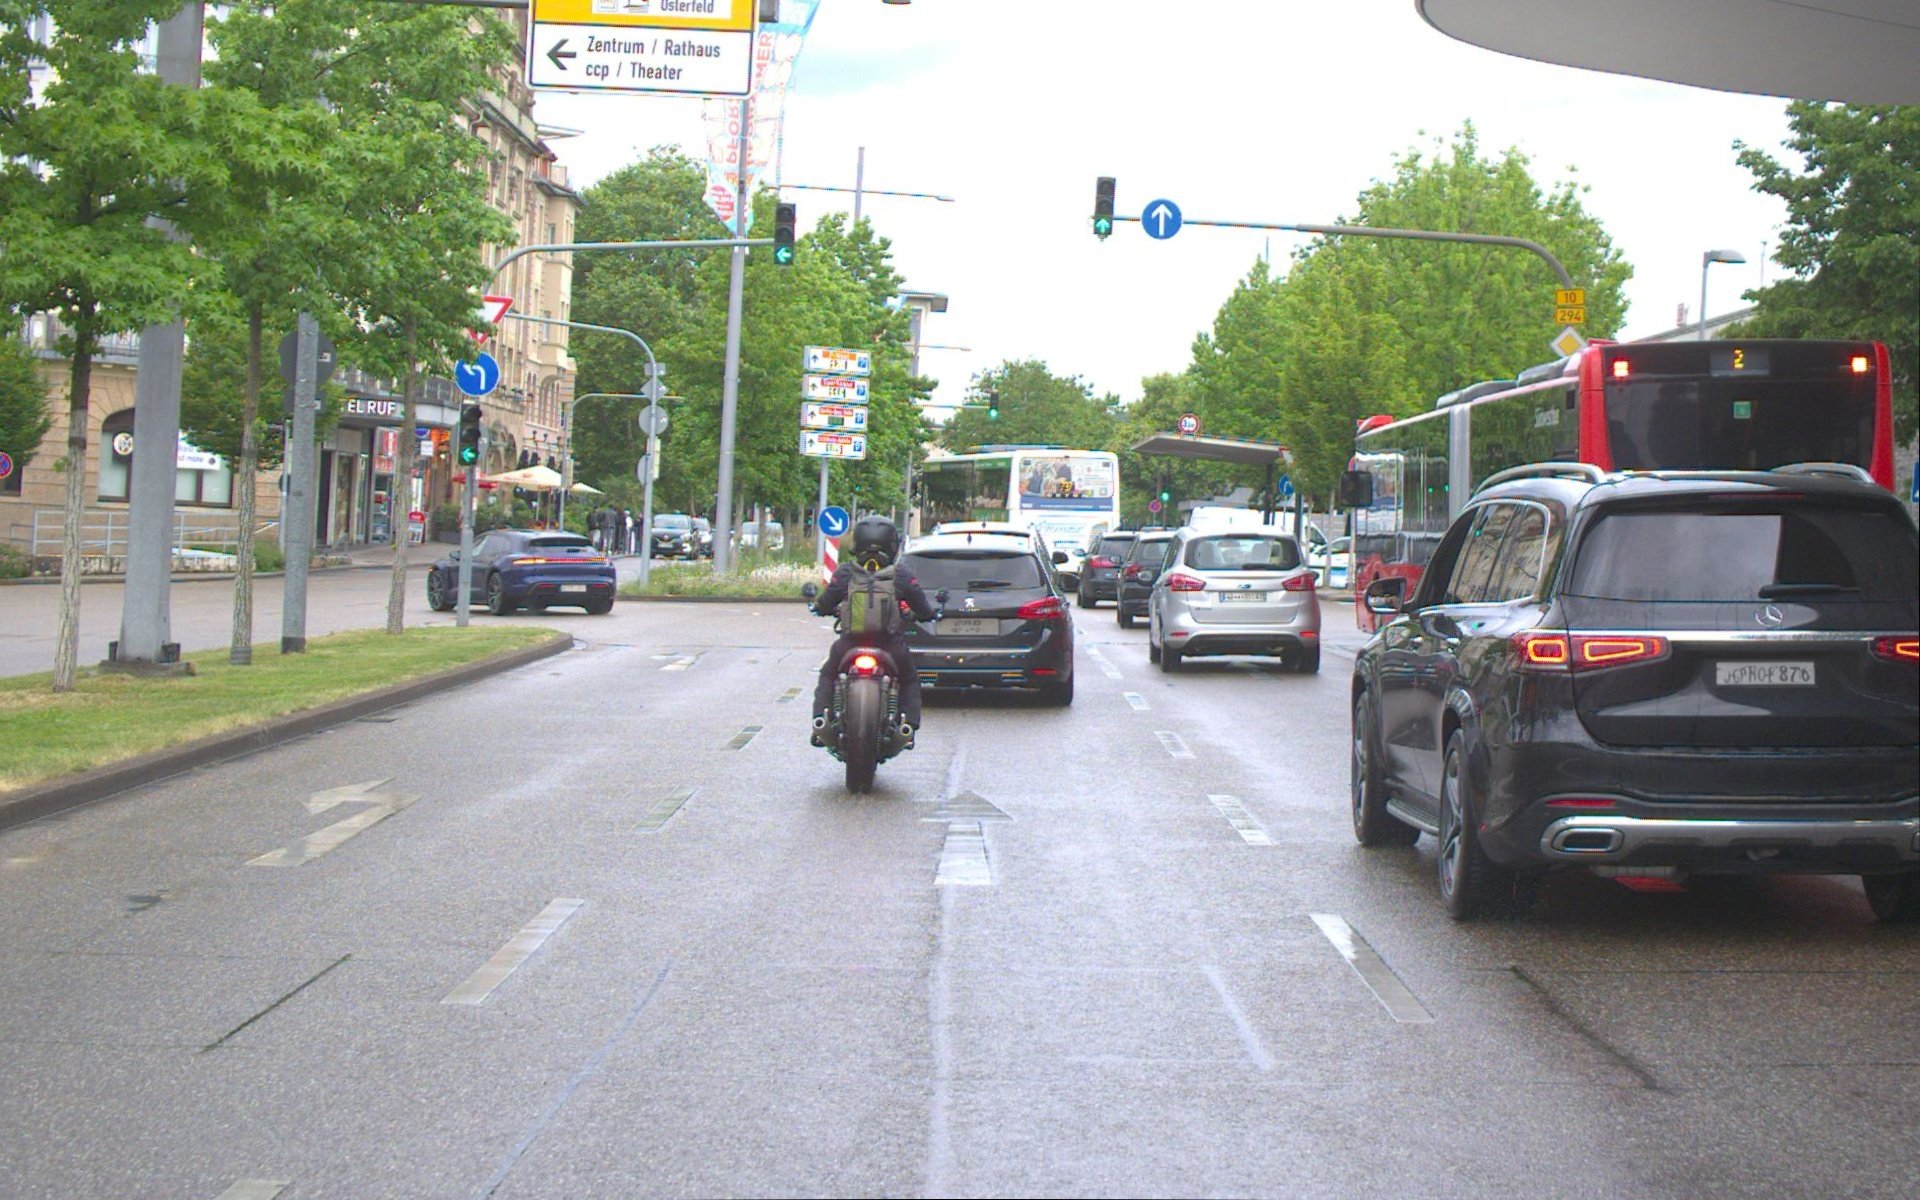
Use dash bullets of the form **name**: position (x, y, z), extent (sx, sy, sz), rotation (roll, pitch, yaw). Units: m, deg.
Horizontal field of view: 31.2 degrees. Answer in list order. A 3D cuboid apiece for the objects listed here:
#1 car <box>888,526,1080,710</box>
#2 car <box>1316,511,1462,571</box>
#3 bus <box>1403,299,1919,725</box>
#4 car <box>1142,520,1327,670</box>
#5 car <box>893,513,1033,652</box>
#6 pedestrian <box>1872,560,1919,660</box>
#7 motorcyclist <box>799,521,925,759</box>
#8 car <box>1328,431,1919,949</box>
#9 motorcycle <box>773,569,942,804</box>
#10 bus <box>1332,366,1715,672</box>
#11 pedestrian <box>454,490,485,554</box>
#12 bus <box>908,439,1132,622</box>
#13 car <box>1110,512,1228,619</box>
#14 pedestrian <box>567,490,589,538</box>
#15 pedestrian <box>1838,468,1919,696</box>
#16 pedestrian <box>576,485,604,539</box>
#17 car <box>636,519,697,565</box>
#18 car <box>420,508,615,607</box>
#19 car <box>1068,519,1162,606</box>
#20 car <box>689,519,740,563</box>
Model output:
- **car**: position (0.232, 0.108, 30.095), extent (1.575, 1.499, 3.871), rotation (0, 1, 1)
- **car**: position (11.277, -1.570, 90.583), extent (1.576, 1.562, 3.795), rotation (-1, 2, -38)
- **bus**: position (6.463, -0.792, 32.406), extent (3.286, 3.280, 10.878), rotation (1, 1, 1)
- **car**: position (2.959, -0.101, 37.693), extent (1.741, 1.562, 3.871), rotation (0, 1, 0)
- **car**: position (0.040, -0.242, 40.616), extent (1.575, 1.562, 3.871), rotation (0, 1, 0)
- **pedestrian**: position (9.996, 0.121, 35.775), extent (0.914, 0.981, 0.633), rotation (3, -3, 14)
- **motorcyclist**: position (-0.564, 0.221, 19.953), extent (0.641, 1.343, 0.689), rotation (1, 1, 4)
- **car**: position (2.820, 0.268, 14.834), extent (1.957, 1.869, 4.874), rotation (0, 1, 0)
- **motorcycle**: position (-0.571, 0.467, 19.840), extent (0.793, 1.258, 1.855), rotation (1, 1, 4)
- **bus**: position (6.634, -0.974, 42.006), extent (3.291, 3.278, 8.849), rotation (1, 1, 1)
- **pedestrian**: position (-15.499, -2.464, 108.583), extent (0.724, 2.007, 0.826), rotation (1, 1, -26)
- **bus**: position (1.240, -1.643, 81.963), extent (2.837, 3.974, 11.867), rotation (2, 1, -11)
- **car**: position (3.125, -0.550, 51.965), extent (1.575, 1.562, 3.871), rotation (0, 1, 0)
- **pedestrian**: position (-14.209, -3.200, 127.906), extent (0.561, 1.772, 0.498), rotation (2, 1, 36)
- **pedestrian**: position (8.528, -0.156, 31.455), extent (0.778, 2.007, 0.781), rotation (5, -1, 13)
- **pedestrian**: position (-13.610, -3.247, 126.425), extent (0.724, 1.959, 0.826), rotation (1, 1, -26)
- **car**: position (-10.052, -1.996, 118.085), extent (1.780, 1.562, 3.430), rotation (0, 1, 0)
- **car**: position (-7.342, -0.731, 56.704), extent (1.816, 1.565, 4.404), rotation (-1, 1, -27)
- **car**: position (2.830, -0.716, 63.414), extent (1.575, 1.562, 3.796), rotation (0, 1, 0)
- **car**: position (-8.874, -2.154, 124.420), extent (1.575, 1.562, 3.430), rotation (0, 1, 0)
